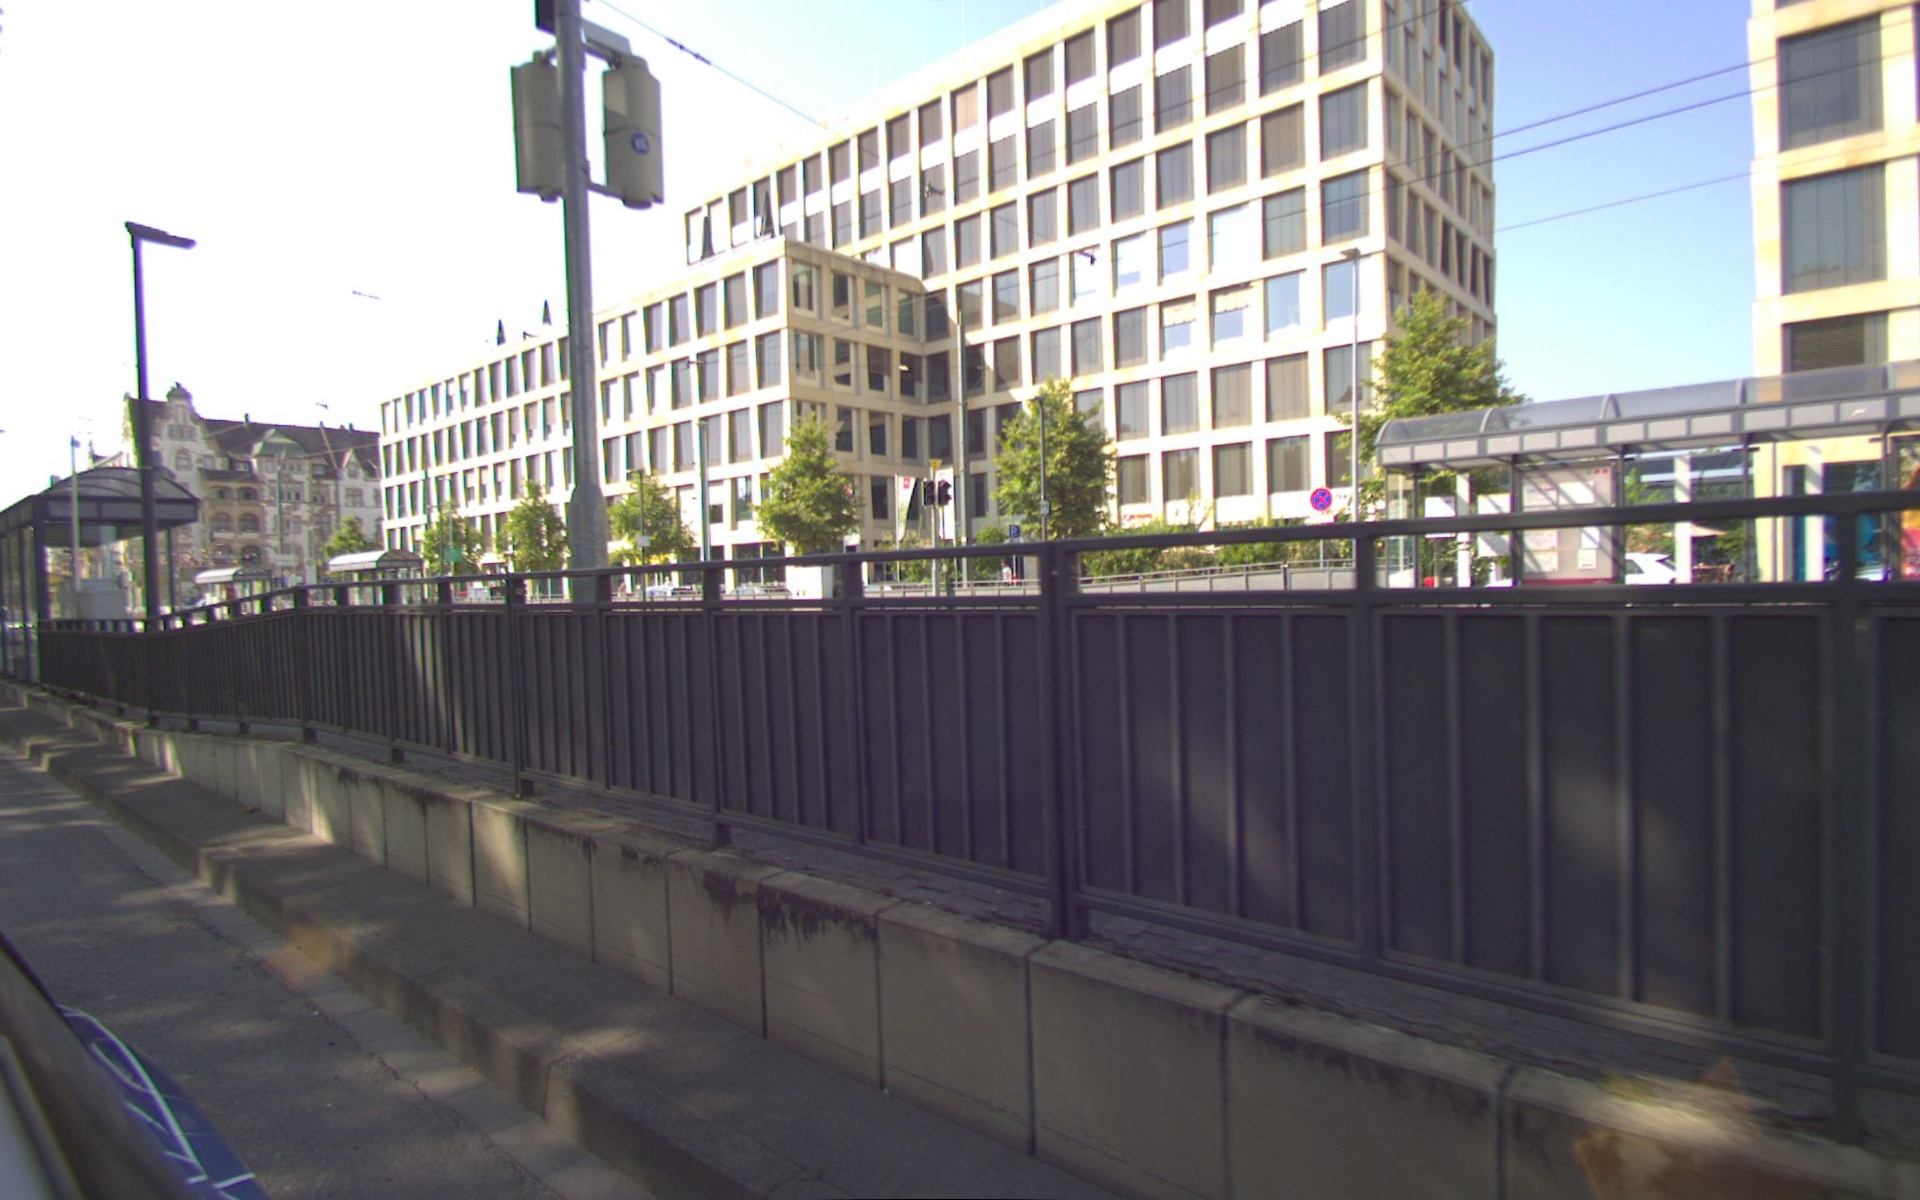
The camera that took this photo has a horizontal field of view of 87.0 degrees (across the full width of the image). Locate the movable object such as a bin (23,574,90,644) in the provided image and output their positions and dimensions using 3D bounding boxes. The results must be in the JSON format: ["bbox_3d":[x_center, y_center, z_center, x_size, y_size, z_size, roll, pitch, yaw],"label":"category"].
[{"bbox_3d":[-62.053,0.592,69.491,4.212,4.588,2.955,-2,0,43],"label":"movable object such as a bin"}]

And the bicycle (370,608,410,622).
[{"bbox_3d":[-42.669,1.125,75.807,1.019,0.975,2.407,-2,1,39],"label":"bicycle"}]

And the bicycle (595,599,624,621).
[{"bbox_3d":[-14.532,0.427,41.906,1.576,0.886,0.384,-2,1,41],"label":"bicycle"}]

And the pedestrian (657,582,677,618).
[{"bbox_3d":[-16.734,-0.013,57.833,0.822,2.029,0.758,-1,1,44],"label":"pedestrian"}]

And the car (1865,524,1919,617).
[{"bbox_3d":[17.998,-0.541,16.949,4.129,1.586,1.746,-1,0,40],"label":"car"}]

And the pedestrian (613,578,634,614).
[{"bbox_3d":[-19.279,-0.238,57.959,0.822,2.029,0.758,-1,1,45],"label":"pedestrian"}]

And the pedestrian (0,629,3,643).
[{"bbox_3d":[-84.799,3.193,89.105,0.547,1.256,0.669,-2,1,39],"label":"pedestrian"}]

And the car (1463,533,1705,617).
[{"bbox_3d":[13.044,-0.463,21.284,4.129,1.586,1.746,-1,0,40],"label":"car"}]

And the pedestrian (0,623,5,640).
[{"bbox_3d":[-64.504,2.126,67.691,0.692,1.163,0.589,-2,0,-10],"label":"pedestrian"}]

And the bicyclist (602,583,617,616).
[{"bbox_3d":[-14.485,-0.026,41.845,0.447,1.371,0.383,-2,1,41],"label":"bicyclist"}]

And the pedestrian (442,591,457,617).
[{"bbox_3d":[-39.661,0.332,78.612,0.690,2.029,0.843,0,-1,40],"label":"pedestrian"}]

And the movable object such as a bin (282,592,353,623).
[{"bbox_3d":[-64.564,0.738,101.792,2.490,2.810,5.445,0,3,41],"label":"movable object such as a bin"}]
